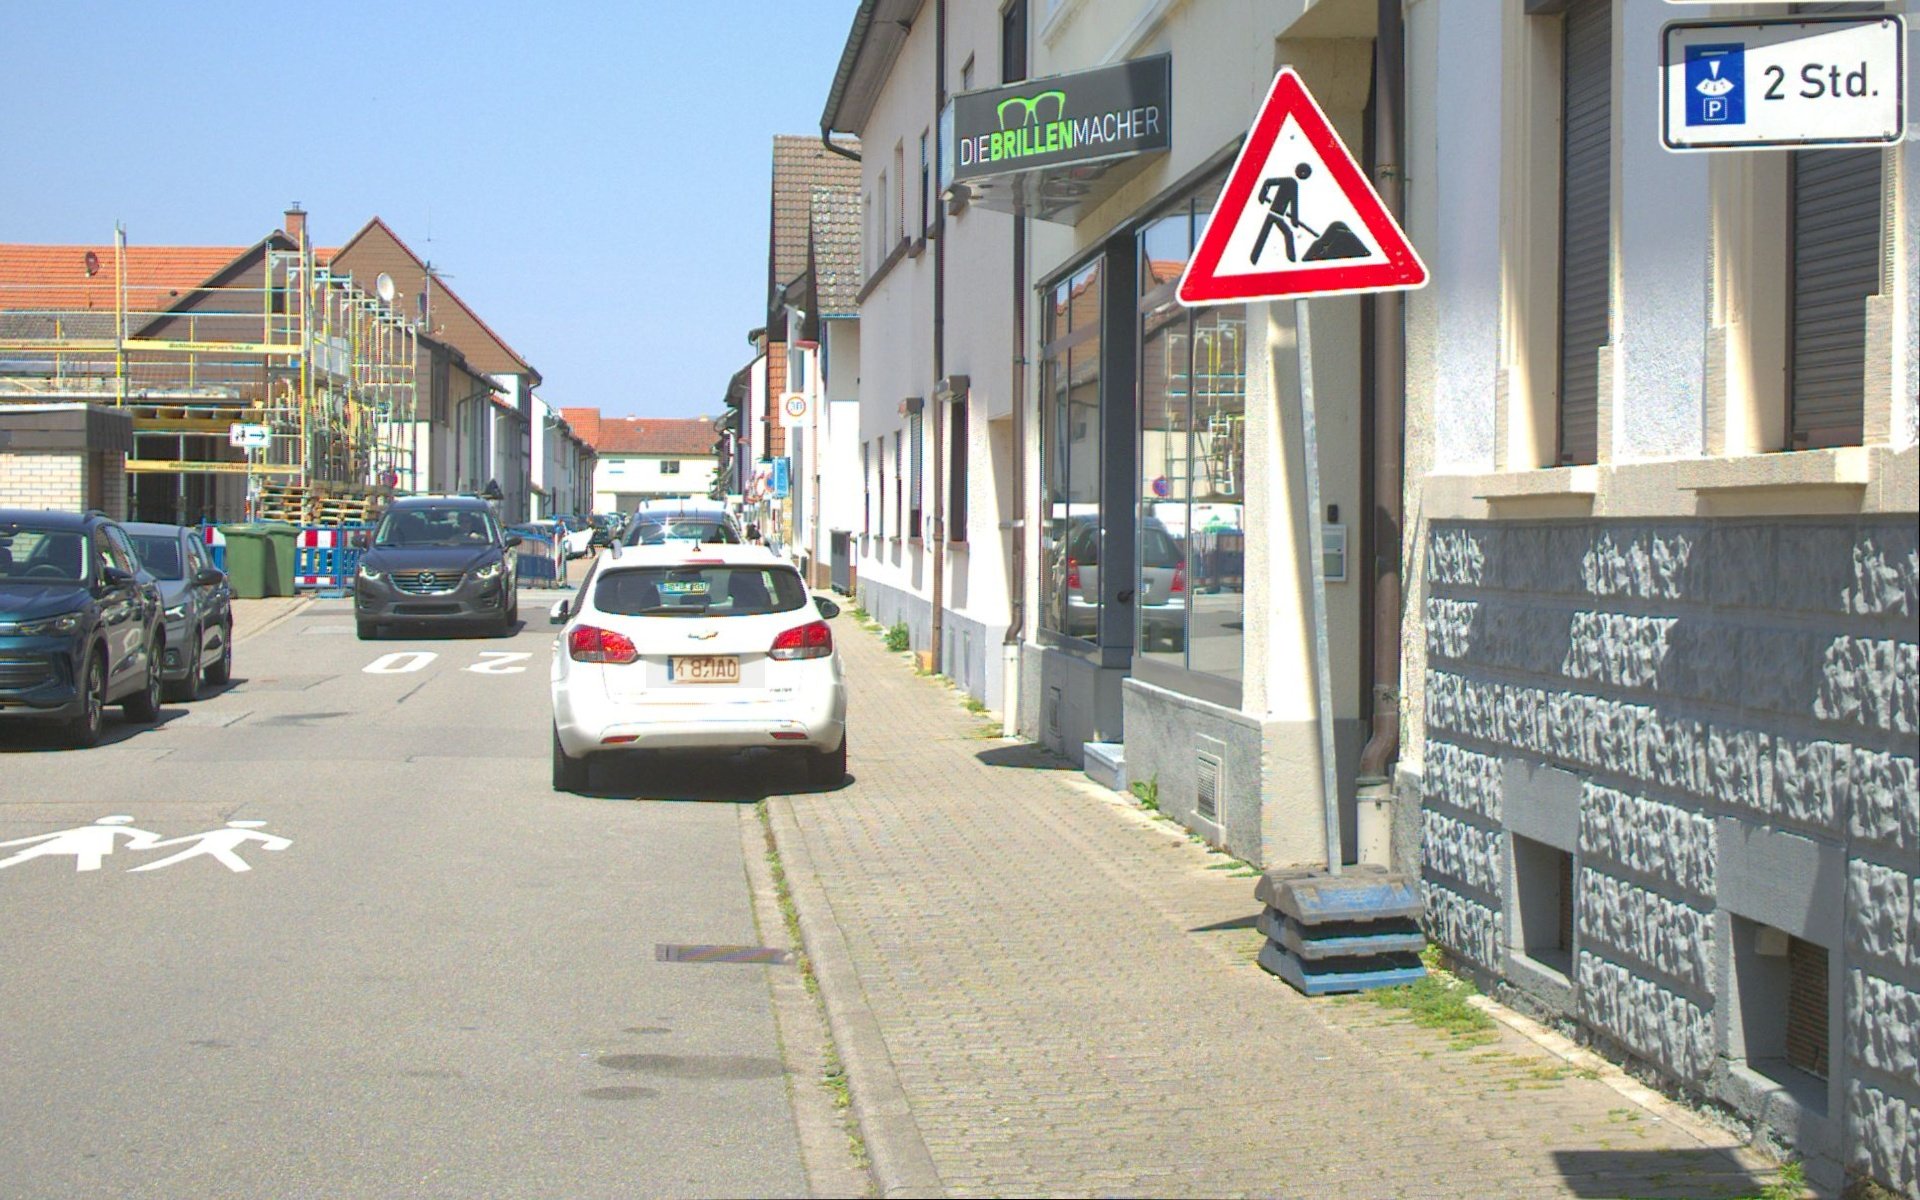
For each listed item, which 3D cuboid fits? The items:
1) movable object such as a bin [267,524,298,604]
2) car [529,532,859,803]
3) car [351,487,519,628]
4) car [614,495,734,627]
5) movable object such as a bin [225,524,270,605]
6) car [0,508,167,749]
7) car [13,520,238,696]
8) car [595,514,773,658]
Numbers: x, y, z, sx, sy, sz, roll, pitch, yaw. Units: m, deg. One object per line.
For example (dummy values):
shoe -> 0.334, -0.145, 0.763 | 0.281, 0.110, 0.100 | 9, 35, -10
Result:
movable object such as a bin -> -9.900, -0.527, 50.225 | 0.431, 1.151, 0.364 | 0, 1, -14
car -> -1.718, 0.354, 21.960 | 1.886, 1.536, 4.243 | 0, 1, -5
car -> -6.534, -0.555, 43.135 | 1.881, 1.662, 4.154 | 0, 1, -6
car -> -3.898, -0.563, 46.840 | 1.564, 1.607, 3.544 | 0, 3, -5
movable object such as a bin -> -10.301, -0.512, 49.717 | 0.621, 1.151, 0.677 | 0, 1, -12
car -> -7.014, 0.138, 25.226 | 1.826, 1.625, 4.218 | 0, 1, -6
car -> -7.373, 0.032, 30.642 | 1.436, 1.469, 3.787 | 0, 1, -6
car -> -3.394, -0.207, 41.689 | 1.884, 1.550, 3.895 | -3, 2, -7
